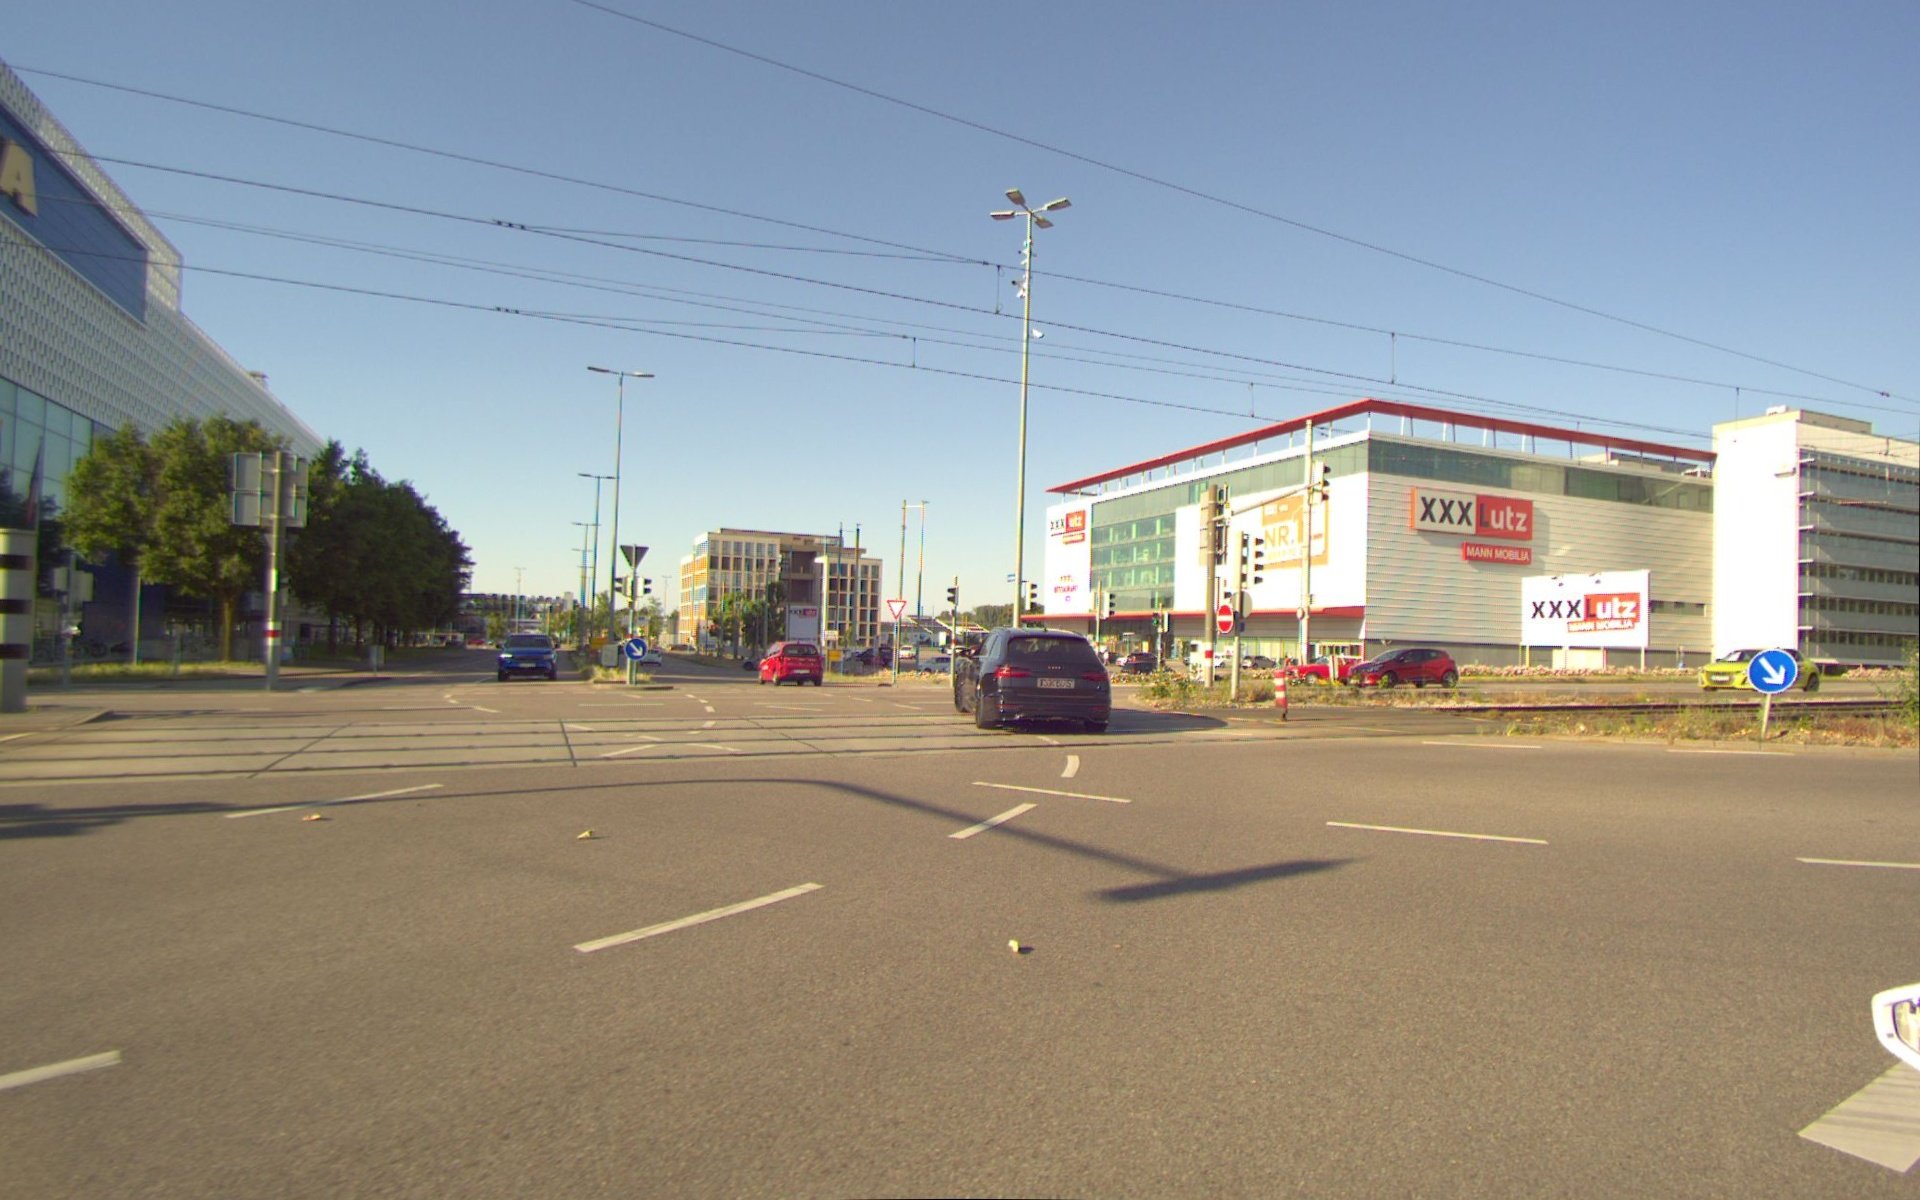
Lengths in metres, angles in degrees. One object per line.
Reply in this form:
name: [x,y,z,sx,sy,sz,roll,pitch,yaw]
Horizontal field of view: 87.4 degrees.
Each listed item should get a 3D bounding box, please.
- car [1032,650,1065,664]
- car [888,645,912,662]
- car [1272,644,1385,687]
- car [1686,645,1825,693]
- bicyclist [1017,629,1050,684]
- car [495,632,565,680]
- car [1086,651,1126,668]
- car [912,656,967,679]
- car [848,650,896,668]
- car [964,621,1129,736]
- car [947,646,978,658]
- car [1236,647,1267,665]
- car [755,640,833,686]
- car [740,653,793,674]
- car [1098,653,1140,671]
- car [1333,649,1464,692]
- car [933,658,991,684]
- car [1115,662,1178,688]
car: [11.621,7.529,132.277,3.954,1.640,1.864,2,1,-31]
car: [-7.593,6.825,127.666,1.800,1.824,4.208,2,0,-21]
car: [14.874,2.640,40.650,3.928,1.664,1.824,1,-3,-10]
car: [25.286,2.179,31.924,4.050,1.466,1.779,2,-3,-24]
bicyclist: [2.152,1.655,29.449,0.739,1.543,0.587,2,1,-17]
car: [-14.910,1.993,34.725,1.989,1.517,4.232,3,-5,-26]
car: [16.108,6.555,110.583,3.946,1.725,1.968,2,1,-25]
car: [-1.656,5.403,80.643,3.950,1.614,1.921,2,1,-28]
car: [-8.526,5.706,97.255,4.382,1.573,1.661,2,1,-27]
car: [1.153,1.097,15.260,1.884,1.477,4.090,1,-2,-4]
car: [0.357,7.343,142.272,3.942,1.468,1.869,2,0,-22]
car: [33.758,6.479,116.359,3.242,1.880,1.503,2,1,-22]
car: [-5.738,2.186,34.513,1.747,1.478,3.565,3,-5,-25]
car: [-16.569,5.441,86.084,4.164,1.589,1.909,2,0,0]
car: [16.845,6.573,106.517,3.946,1.838,1.987,2,1,-25]
car: [15.967,2.584,36.656,4.063,1.495,1.936,2,-4,-15]
car: [0.133,5.328,75.848,3.950,1.768,1.921,2,1,-28]
car: [12.911,5.201,69.600,3.936,1.746,1.864,1,-3,-17]
